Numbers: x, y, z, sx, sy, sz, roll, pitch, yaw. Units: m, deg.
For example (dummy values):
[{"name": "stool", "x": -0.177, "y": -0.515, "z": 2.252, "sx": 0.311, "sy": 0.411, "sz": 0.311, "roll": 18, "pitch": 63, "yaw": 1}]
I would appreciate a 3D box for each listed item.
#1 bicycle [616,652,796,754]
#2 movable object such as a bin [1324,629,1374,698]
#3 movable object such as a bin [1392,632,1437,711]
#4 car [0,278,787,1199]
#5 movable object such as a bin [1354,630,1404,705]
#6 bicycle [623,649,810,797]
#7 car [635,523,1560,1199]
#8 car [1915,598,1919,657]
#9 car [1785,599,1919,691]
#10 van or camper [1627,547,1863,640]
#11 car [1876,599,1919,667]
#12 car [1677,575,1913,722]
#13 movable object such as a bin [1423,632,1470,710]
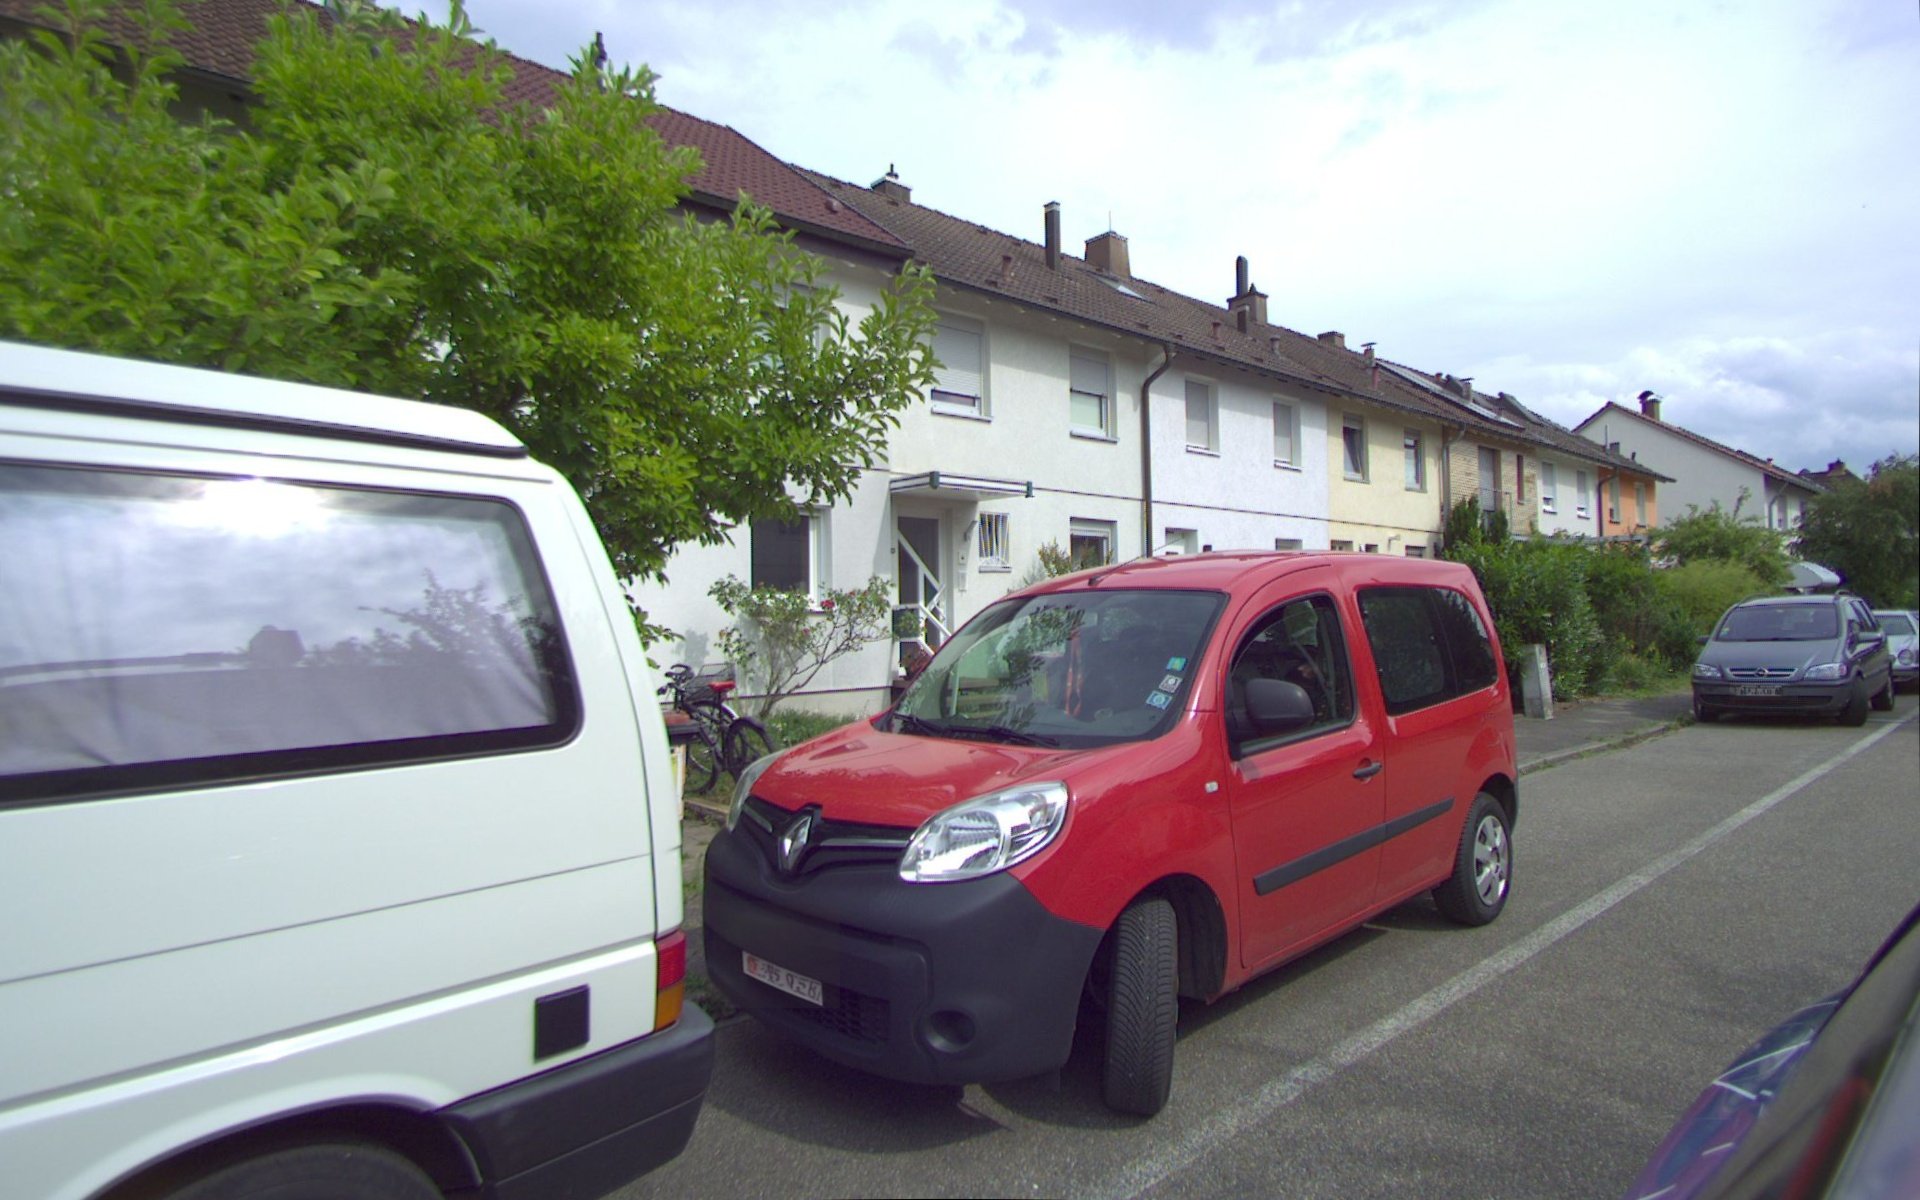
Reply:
[{"name": "bicycle", "x": -2.464, "y": 0.973, "z": 9.849, "sx": 1.571, "sy": 0.877, "sz": 0.741, "roll": 0, "pitch": -1, "yaw": 19}, {"name": "movable object such as a bin", "x": 5.926, "y": 0.950, "z": 15.406, "sx": 0.425, "sy": 1.000, "sz": 0.874, "roll": -1, "pitch": -1, "yaw": 42}, {"name": "movable object such as a bin", "x": 6.587, "y": 1.014, "z": 14.666, "sx": 0.370, "sy": 1.080, "sz": 0.840, "roll": -1, "pitch": -1, "yaw": 40}, {"name": "car", "x": -2.760, "y": 0.560, "z": 1.353, "sx": 4.667, "sy": 1.972, "sz": 2.023, "roll": 0, "pitch": -1, "yaw": -43}, {"name": "movable object such as a bin", "x": 6.239, "y": 0.987, "z": 15.050, "sx": 0.417, "sy": 1.065, "sz": 0.874, "roll": 0, "pitch": -1, "yaw": 43}, {"name": "bicycle", "x": -1.887, "y": 0.862, "z": 7.654, "sx": 0.551, "sy": 0.920, "sz": 1.879, "roll": 0, "pitch": -1, "yaw": -42}, {"name": "car", "x": 1.000, "y": 0.665, "z": 4.510, "sx": 4.338, "sy": 1.672, "sz": 1.811, "roll": 0, "pitch": -1, "yaw": -44}, {"name": "car", "x": 26.416, "y": 0.677, "z": 26.387, "sx": 4.566, "sy": 1.486, "sz": 1.752, "roll": 0, "pitch": -1, "yaw": -41}, {"name": "car", "x": 16.218, "y": 0.739, "z": 17.873, "sx": 4.687, "sy": 1.425, "sz": 1.869, "roll": 0, "pitch": -3, "yaw": -43}, {"name": "van or camper", "x": 26.302, "y": -0.174, "z": 34.175, "sx": 2.489, "sy": 2.854, "sz": 5.817, "roll": 0, "pitch": -1, "yaw": -35}, {"name": "car", "x": 22.110, "y": 0.695, "z": 22.874, "sx": 4.056, "sy": 1.446, "sz": 1.734, "roll": 0, "pitch": -1, "yaw": -43}, {"name": "car", "x": 11.429, "y": 0.576, "z": 13.741, "sx": 4.388, "sy": 1.675, "sz": 1.869, "roll": 0, "pitch": -1, "yaw": -43}, {"name": "movable object such as a bin", "x": 6.881, "y": 0.986, "z": 14.307, "sx": 0.403, "sy": 1.047, "sz": 0.779, "roll": -2, "pitch": -2, "yaw": 41}]
